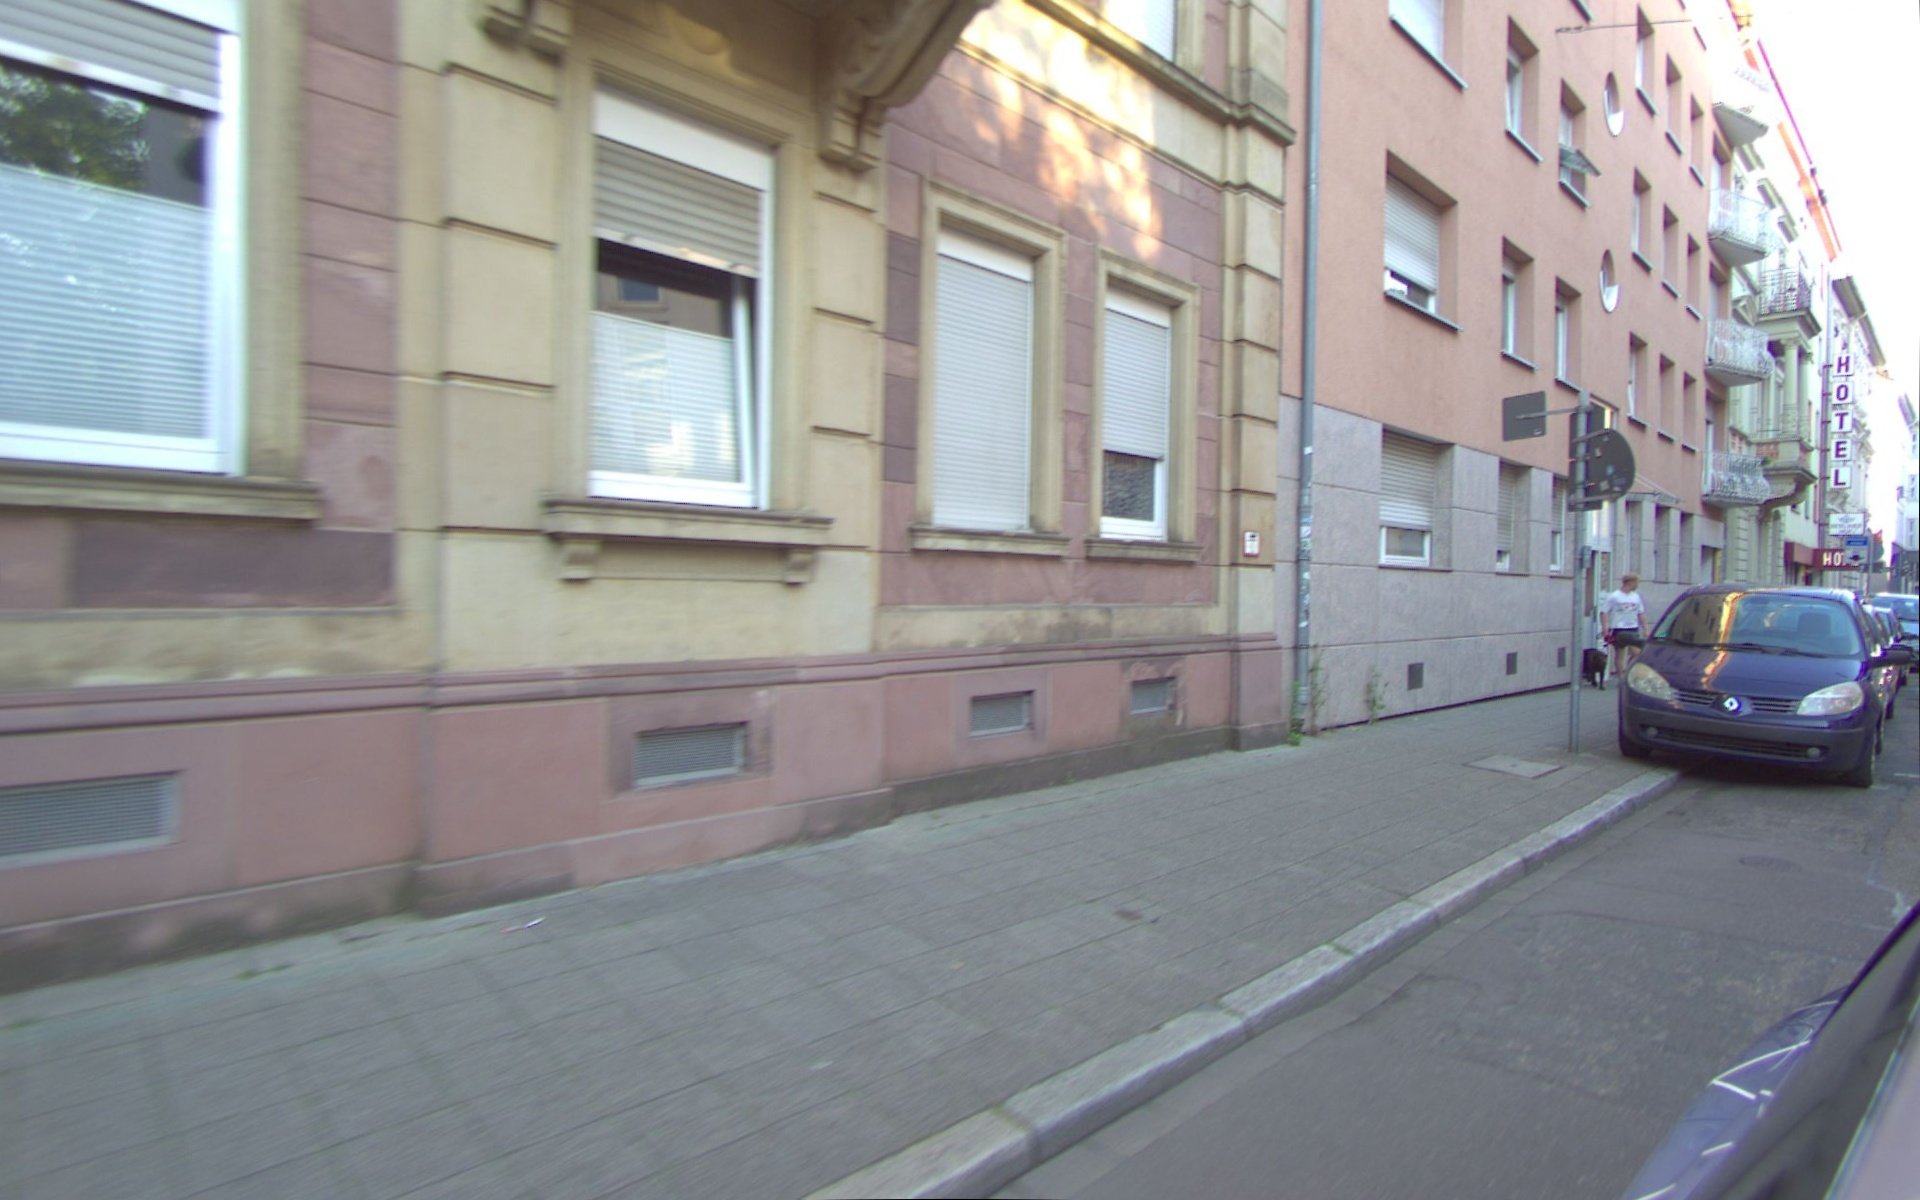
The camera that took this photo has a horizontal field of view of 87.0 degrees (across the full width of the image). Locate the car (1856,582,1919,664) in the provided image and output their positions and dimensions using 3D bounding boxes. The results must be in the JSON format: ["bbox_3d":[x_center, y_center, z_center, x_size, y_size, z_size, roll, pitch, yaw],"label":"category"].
[{"bbox_3d":[22.016,0.494,23.356,4.041,1.763,1.691,0,1,-44],"label":"car"}]

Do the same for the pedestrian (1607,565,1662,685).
[{"bbox_3d":[10.182,0.361,15.282,0.559,1.765,0.549,1,0,-44],"label":"pedestrian"}]

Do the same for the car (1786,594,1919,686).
[{"bbox_3d":[16.506,0.655,18.514,4.063,1.476,1.691,0,1,-44],"label":"car"}]

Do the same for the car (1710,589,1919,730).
[{"bbox_3d":[11.269,0.652,13.211,4.212,1.533,1.691,0,1,-44],"label":"car"}]

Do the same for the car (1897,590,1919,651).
[{"bbox_3d":[27.039,0.560,27.903,3.530,1.598,1.571,0,1,-44],"label":"car"}]

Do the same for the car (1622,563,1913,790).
[{"bbox_3d":[7.593,0.539,9.368,1.690,1.645,3.989,1,1,45],"label":"car"}]
